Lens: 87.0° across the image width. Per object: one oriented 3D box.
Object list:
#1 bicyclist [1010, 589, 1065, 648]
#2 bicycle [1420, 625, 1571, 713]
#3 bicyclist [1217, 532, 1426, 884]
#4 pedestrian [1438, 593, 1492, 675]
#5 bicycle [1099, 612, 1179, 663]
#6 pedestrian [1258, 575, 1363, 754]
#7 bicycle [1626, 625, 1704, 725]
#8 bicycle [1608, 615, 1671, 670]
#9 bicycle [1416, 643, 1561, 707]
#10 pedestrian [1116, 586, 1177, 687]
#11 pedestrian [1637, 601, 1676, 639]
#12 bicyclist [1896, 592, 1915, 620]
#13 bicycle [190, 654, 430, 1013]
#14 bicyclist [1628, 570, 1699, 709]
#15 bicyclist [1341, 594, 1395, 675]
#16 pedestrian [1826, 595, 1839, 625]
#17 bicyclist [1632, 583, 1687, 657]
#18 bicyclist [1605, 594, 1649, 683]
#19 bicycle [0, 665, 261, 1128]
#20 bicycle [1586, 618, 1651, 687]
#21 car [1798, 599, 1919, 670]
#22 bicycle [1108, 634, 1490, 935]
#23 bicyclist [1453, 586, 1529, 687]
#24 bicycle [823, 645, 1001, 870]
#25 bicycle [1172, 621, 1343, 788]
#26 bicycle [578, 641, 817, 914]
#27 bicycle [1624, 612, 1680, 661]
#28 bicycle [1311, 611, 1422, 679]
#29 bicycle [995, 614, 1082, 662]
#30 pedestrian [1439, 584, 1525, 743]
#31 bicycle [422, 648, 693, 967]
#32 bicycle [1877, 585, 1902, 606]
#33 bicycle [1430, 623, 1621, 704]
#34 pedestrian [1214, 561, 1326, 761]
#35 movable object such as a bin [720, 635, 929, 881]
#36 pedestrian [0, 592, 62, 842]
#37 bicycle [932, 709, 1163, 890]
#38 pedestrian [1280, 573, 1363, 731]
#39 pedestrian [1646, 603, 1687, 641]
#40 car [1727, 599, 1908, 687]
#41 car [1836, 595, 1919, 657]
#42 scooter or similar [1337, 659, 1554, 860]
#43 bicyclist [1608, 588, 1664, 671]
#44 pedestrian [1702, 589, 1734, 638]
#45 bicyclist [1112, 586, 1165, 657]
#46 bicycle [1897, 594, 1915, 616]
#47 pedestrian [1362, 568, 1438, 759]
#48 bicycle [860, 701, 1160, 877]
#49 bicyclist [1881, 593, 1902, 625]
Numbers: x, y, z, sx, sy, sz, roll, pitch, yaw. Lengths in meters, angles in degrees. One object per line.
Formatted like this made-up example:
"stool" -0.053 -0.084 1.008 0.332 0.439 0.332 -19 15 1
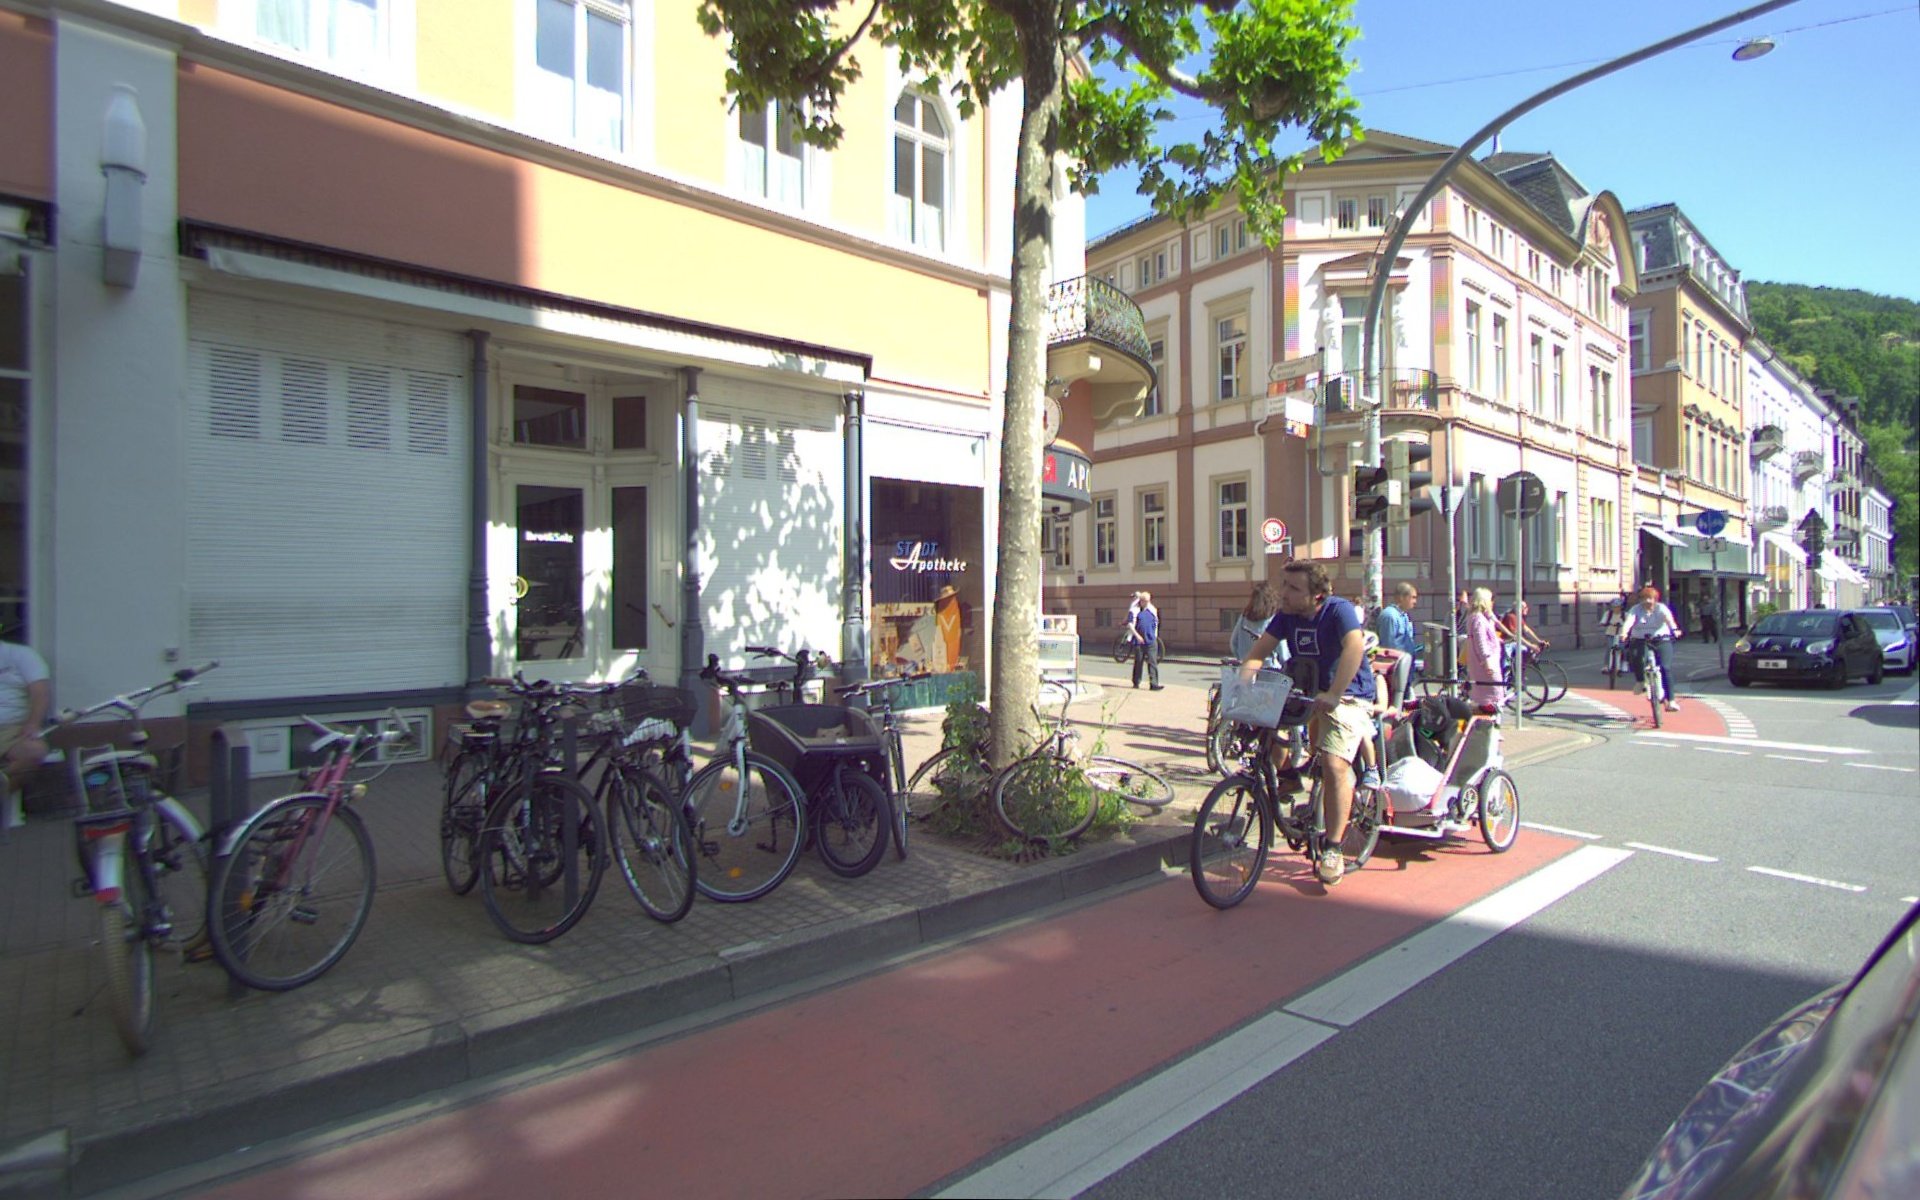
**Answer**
"bicyclist" 1.946 0.464 25.517 0.758 1.449 1.260 1 -1 -33
"bicycle" 7.801 0.970 14.819 0.654 1.141 1.844 -1 0 -38
"bicyclist" 1.907 0.511 5.375 0.759 1.694 0.734 0 0 -31
"pedestrian" 10.667 0.695 21.397 0.891 1.631 0.971 0 3 19
"bicycle" 4.348 0.893 24.729 0.562 1.141 2.076 1 0 -38
"pedestrian" 3.527 0.624 10.199 0.630 1.712 0.787 1 -2 -44
"bicycle" 9.158 0.921 13.115 0.733 1.141 2.006 -1 0 37
"bicycle" 14.878 0.909 22.145 1.957 1.132 0.663 1 0 -41
"bicycle" 7.734 1.077 14.871 0.492 0.855 1.824 0 -1 -41
"pedestrian" 3.194 0.621 17.355 0.774 1.680 0.641 3 -3 -31
"pedestrian" 24.981 0.718 36.301 0.614 1.333 1.030 0 0 -43
"bicyclist" 55.523 0.353 59.435 0.830 1.593 0.747 0 0 -42
"bicycle" -2.909 0.859 4.439 0.655 1.141 1.843 -1 0 -40
"bicyclist" 9.145 0.495 13.152 0.681 1.739 0.832 -1 -1 39
"bicyclist" 8.306 0.678 20.597 0.830 1.593 0.747 0 0 -42
"pedestrian" 49.614 0.585 57.543 0.853 1.689 0.482 0 -1 -43
"bicyclist" 16.756 0.455 24.242 0.830 1.739 0.909 -1 0 -42
"bicyclist" 12.815 0.715 19.440 0.830 1.656 0.515 0 0 -42
"bicycle" -3.014 0.870 3.657 0.632 1.141 1.843 -1 0 -40
"bicycle" 12.908 0.994 19.826 1.828 1.140 0.607 -5 4 -41
"car" 20.626 0.726 22.927 4.805 1.443 1.953 0 -2 -44
"bicycle" 1.856 0.829 5.353 2.239 1.285 0.734 1 -2 -36
"bicyclist" 7.747 0.515 14.778 0.492 1.429 0.860 0 0 -41
"bicycle" -0.358 0.845 6.080 0.338 1.141 1.848 1 -3 -27
"bicycle" 2.350 0.813 8.258 0.702 1.204 1.857 0 -4 -4
"bicycle" -1.494 0.838 5.501 0.654 1.141 1.846 -1 0 -35
"bicycle" 16.689 0.864 24.387 1.887 1.132 0.747 0 -1 -45
"bicycle" 8.320 0.878 20.609 3.185 1.140 0.749 -2 3 -41
"bicycle" 1.944 0.923 25.508 0.758 1.141 2.574 1 -1 -33
"pedestrian" 6.000 0.695 11.633 0.777 1.731 0.639 -2 0 -45
"bicycle" -1.993 0.846 4.841 0.655 1.141 1.843 -1 0 -40
"bicycle" 50.581 -0.251 55.048 2.529 1.141 0.743 -1 2 -41
"bicycle" 8.888 0.956 16.013 2.565 1.141 0.618 0 0 44
"pedestrian" 2.970 0.562 9.719 0.630 1.818 0.787 1 -3 -44
"movable object such as a bin" -0.878 0.827 6.013 0.639 1.204 1.858 0 -2 -27
"pedestrian" -6.316 0.716 6.453 0.823 1.502 1.252 0 -1 -44
"bicycle" 0.694 1.343 7.265 1.128 0.438 1.846 10 13 21
"pedestrian" 4.419 0.621 12.381 0.602 1.867 0.641 -1 -2 -31
"pedestrian" 25.572 0.787 36.652 0.614 1.332 1.087 0 2 -43
"car" 16.224 0.749 19.120 3.659 1.497 1.634 0 -1 -34
"car" 25.742 0.688 27.932 4.219 1.511 1.887 -1 -2 -44
"scooter or similar" 3.071 0.942 6.402 1.105 1.074 0.785 0 -2 -37
"bicyclist" 14.613 0.613 21.890 0.830 1.739 0.839 0 0 -42
"pedestrian" 28.315 0.481 37.804 0.754 1.814 0.839 0 0 -42
"bicyclist" 4.358 0.511 24.730 0.562 1.682 1.158 1 0 -38
"bicycle" 55.706 0.283 59.597 2.058 1.140 0.595 -3 3 -41
"pedestrian" 4.355 0.612 10.009 0.598 1.818 0.452 1 -3 -45
"bicycle" 0.269 1.205 6.557 1.853 0.395 1.019 -14 26 52
"bicyclist" 51.007 0.487 55.424 1.018 1.724 0.747 0 0 -42
